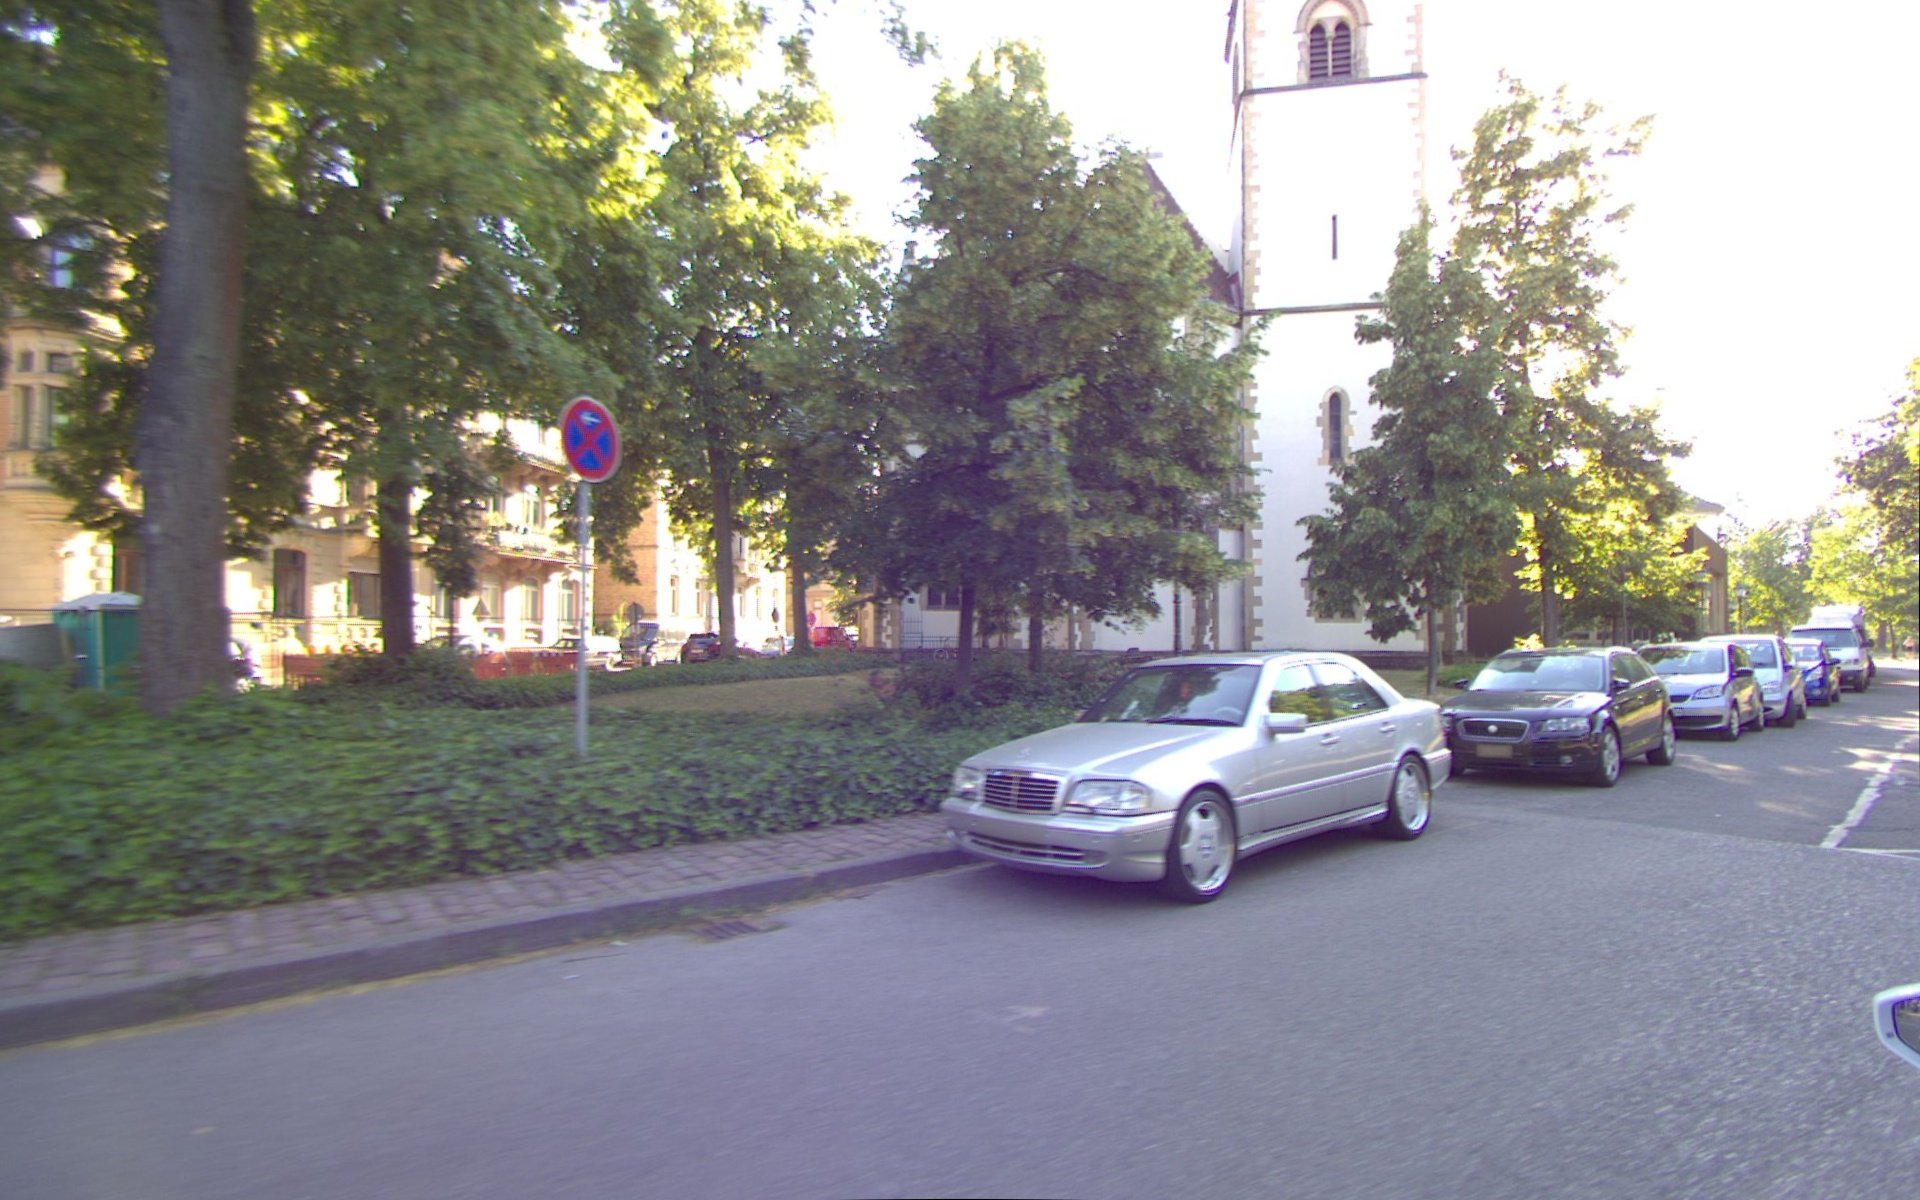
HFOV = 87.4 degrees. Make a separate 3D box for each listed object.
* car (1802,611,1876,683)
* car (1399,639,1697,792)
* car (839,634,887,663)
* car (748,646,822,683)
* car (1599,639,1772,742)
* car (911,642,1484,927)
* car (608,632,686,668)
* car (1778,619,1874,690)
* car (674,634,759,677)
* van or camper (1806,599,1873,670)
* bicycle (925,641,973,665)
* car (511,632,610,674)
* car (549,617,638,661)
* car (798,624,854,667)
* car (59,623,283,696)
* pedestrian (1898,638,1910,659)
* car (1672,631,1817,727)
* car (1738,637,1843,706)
[{"bbox_3d":[31.625,1.664,36.238,1.829,2.387,5.162,-1,-2,40],"label":"car"},{"bbox_3d":[7.018,1.215,11.771,4.464,1.434,1.808,2,-5,-44],"label":"car"},{"bbox_3d":[-5.815,2.908,60.757,1.853,1.677,4.224,0,-2,9],"label":"car"},{"bbox_3d":[-8.435,3.095,48.832,1.854,1.677,4.223,0,-2,16],"label":"car"},{"bbox_3d":[11.753,1.383,16.197,3.581,1.459,1.597,2,-4,-44],"label":"car"},{"bbox_3d":[1.946,1.067,7.328,4.462,1.434,1.765,2,-4,-41],"label":"car"},{"bbox_3d":[-15.316,2.438,49.402,1.959,1.677,4.224,0,-2,10],"label":"car"},{"bbox_3d":[26.334,1.608,30.490,1.833,1.972,4.810,-1,-2,45],"label":"car"},{"bbox_3d":[-9.851,2.238,41.025,1.853,1.677,4.224,0,-2,9],"label":"car"},{"bbox_3d":[39.149,1.528,44.645,2.067,2.946,6.297,-1,-2,42],"label":"van or camper"},{"bbox_3d":[-0.441,2.095,39.940,1.846,0.930,0.423,0,-1,13],"label":"bicycle"},{"bbox_3d":[-16.812,2.213,42.487,1.959,1.677,4.224,0,-2,10],"label":"car"},{"bbox_3d":[-19.922,2.121,54.733,4.134,2.291,1.893,0,-2,10],"label":"car"},{"bbox_3d":[-7.244,2.462,54.661,1.853,2.291,4.224,0,-2,9],"label":"car"},{"bbox_3d":[-19.645,1.439,25.293,1.874,1.677,4.224,0,-2,10],"label":"car"},{"bbox_3d":[74.059,3.825,78.799,0.626,1.618,0.669,-1,-2,36],"label":"pedestrian"},{"bbox_3d":[14.685,1.390,18.739,3.673,1.600,1.687,2,-2,-45],"label":"car"},{"bbox_3d":[20.005,1.653,24.140,3.673,1.521,1.600,2,-2,-45],"label":"car"}]
